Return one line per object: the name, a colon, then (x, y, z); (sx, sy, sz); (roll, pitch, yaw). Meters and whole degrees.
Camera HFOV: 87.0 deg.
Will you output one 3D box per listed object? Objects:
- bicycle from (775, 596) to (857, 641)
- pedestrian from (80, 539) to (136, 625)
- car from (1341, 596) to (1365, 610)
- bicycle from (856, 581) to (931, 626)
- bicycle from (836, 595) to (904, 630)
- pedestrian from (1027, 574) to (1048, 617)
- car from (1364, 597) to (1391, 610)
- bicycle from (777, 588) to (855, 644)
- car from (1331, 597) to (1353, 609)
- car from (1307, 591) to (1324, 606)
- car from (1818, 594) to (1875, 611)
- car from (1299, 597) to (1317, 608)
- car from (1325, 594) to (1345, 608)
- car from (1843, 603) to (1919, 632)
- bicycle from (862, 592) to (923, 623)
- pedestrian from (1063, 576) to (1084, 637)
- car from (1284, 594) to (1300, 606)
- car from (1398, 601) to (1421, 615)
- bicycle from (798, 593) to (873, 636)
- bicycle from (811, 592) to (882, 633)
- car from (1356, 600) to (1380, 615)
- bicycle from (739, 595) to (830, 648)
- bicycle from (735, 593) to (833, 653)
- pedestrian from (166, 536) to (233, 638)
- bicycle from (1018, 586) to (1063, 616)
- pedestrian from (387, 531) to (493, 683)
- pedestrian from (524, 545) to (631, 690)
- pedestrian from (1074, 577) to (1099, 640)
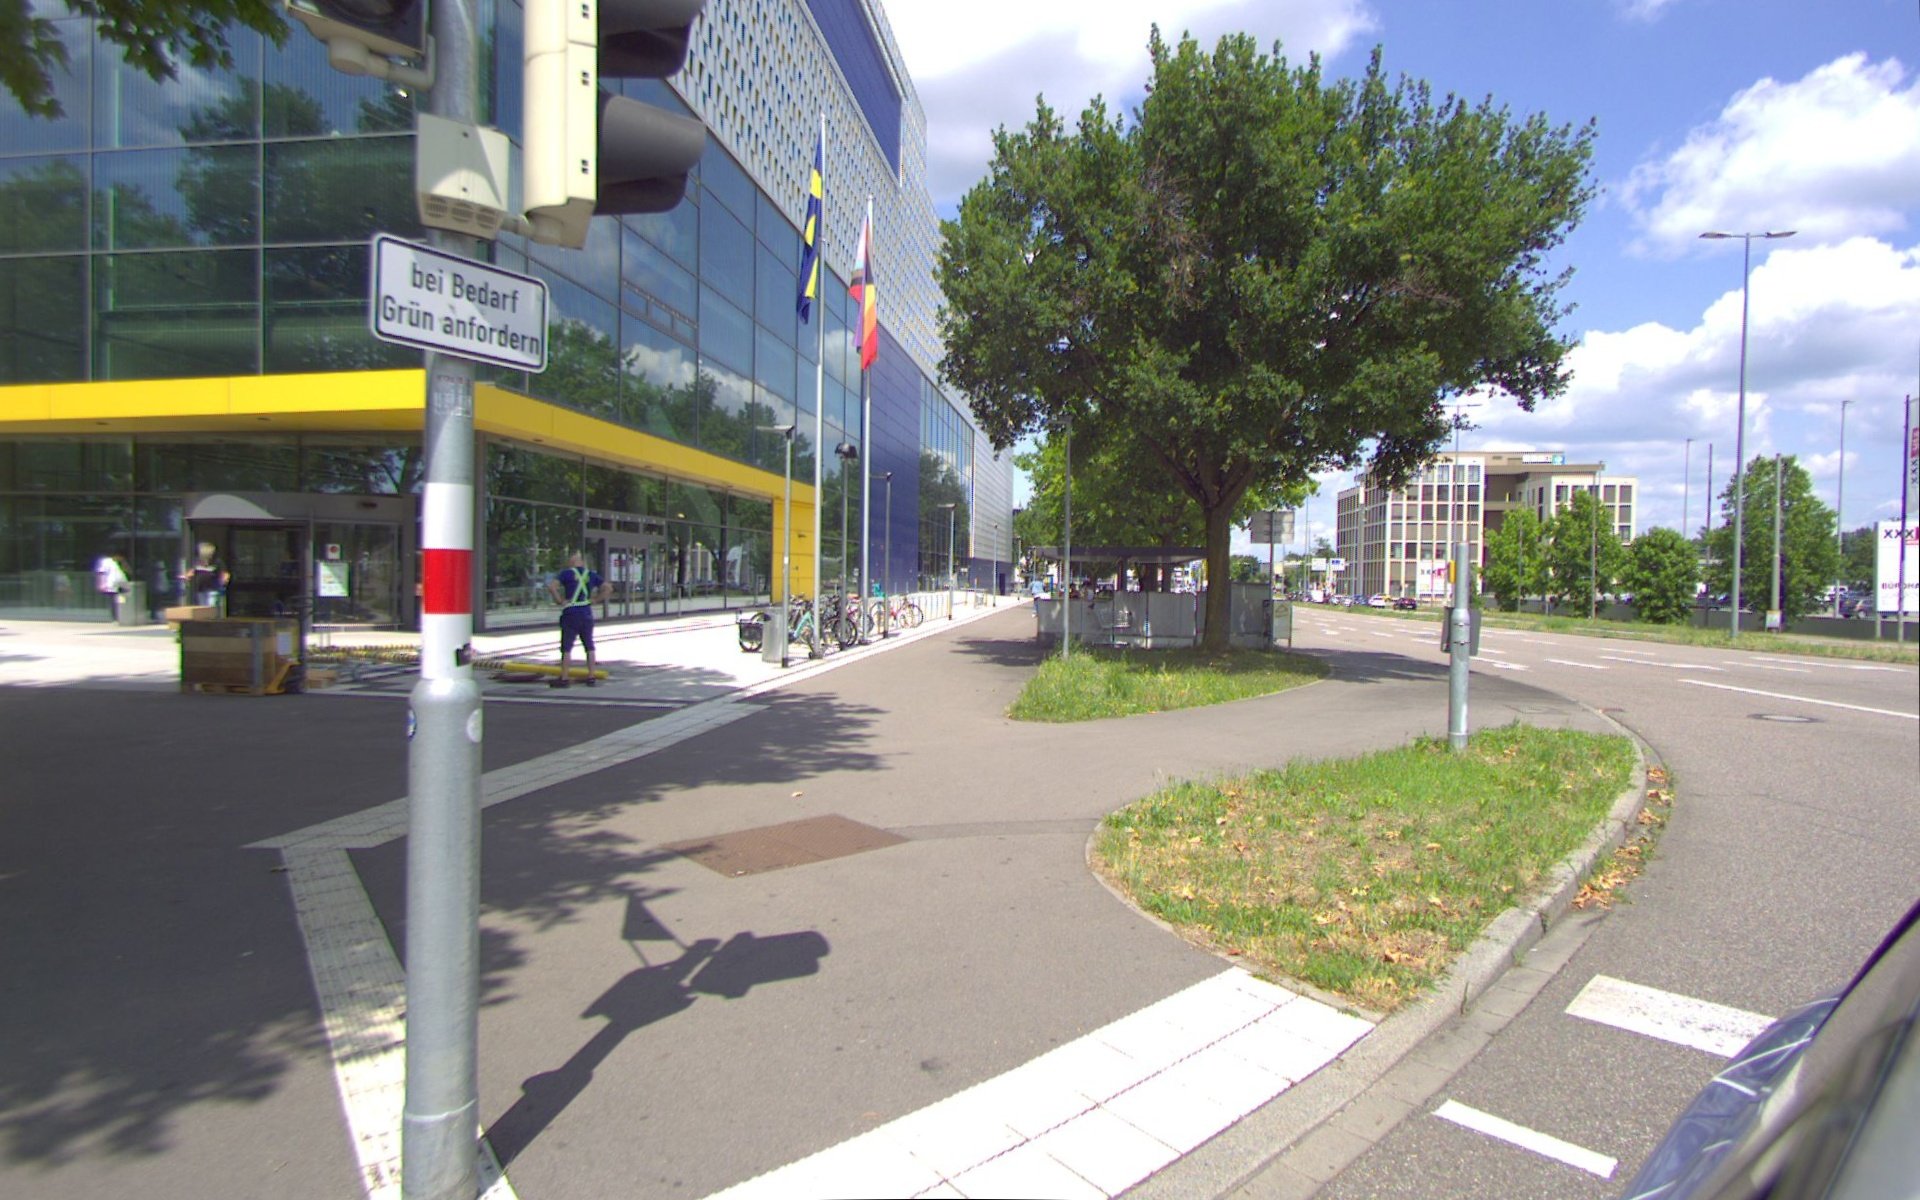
bicycle: (-3.393, 0.436, 23.898); (1.836, 1.007, 0.464); (1, 0, 7)
pedestrian: (-19.324, -0.433, 22.954); (0.772, 1.908, 0.614); (1, 3, 19)
car: (45.155, 0.372, 116.290); (1.770, 1.435, 4.658); (3, 1, 12)
bicycle: (-2.027, 0.098, 30.817); (2.121, 1.245, 0.716); (3, 1, 21)
bicycle: (-2.531, 0.334, 28.475); (1.835, 0.893, 0.423); (2, 1, 6)
pedestrian: (3.206, -0.201, 41.743); (0.623, 1.742, 0.524); (0, 2, -39)
car: (51.966, 0.438, 126.111); (1.594, 1.491, 4.358); (2, 0, 1)
bicycle: (-3.187, 0.351, 22.419); (1.648, 1.172, 0.462); (2, 0, -4)
car: (46.375, 0.331, 122.832); (1.770, 1.420, 4.827); (1, 0, 12)
car: (50.241, -0.258, 143.095); (1.835, 2.069, 3.561); (2, 0, 13)
car: (88.167, 0.237, 100.671); (3.775, 1.488, 1.849); (2, 0, 13)
car: (45.322, 0.313, 131.855); (1.770, 1.267, 4.291); (2, 0, 12)
car: (47.935, 0.099, 129.371); (1.770, 1.723, 4.211); (2, 0, 12)
car: (67.985, 1.283, 74.275); (4.292, 2.014, 1.994); (2, -1, 10)
bicycle: (-2.123, 0.235, 32.018); (1.838, 0.893, 0.469); (2, 0, 11)
pedestrian: (3.200, 0.180, 28.539); (0.537, 1.683, 0.477); (1, 0, 9)
car: (47.184, -0.034, 143.918); (1.771, 1.665, 4.153); (2, 0, 13)
car: (49.278, 0.888, 110.976); (1.600, 1.488, 4.099); (2, 1, 13)
bicycle: (-3.204, 0.362, 25.995); (1.835, 1.007, 0.423); (3, 2, 6)
bicycle: (-3.040, 0.331, 27.162); (1.835, 1.007, 0.423); (2, 1, 6)
car: (43.486, 0.784, 107.981); (1.718, 1.493, 3.662); (2, 2, 13)
bicycle: (-3.729, 0.445, 21.477); (1.839, 1.007, 0.422); (4, 0, 12)
bicycle: (-3.496, 0.454, 20.202); (1.887, 1.121, 0.505); (2, 2, -7)
pedestrian: (-14.650, -0.249, 19.484); (0.957, 1.910, 0.886); (1, 0, -40)
bicycle: (3.297, 0.013, 41.605); (0.567, 1.121, 2.012); (2, 2, -41)
pedestrian: (-7.487, 0.073, 14.599); (1.000, 2.097, 0.966); (1, 2, 25)
pedestrian: (-5.339, 0.216, 14.155); (1.000, 1.925, 0.966); (1, 1, 25)
pedestrian: (3.435, 0.227, 27.425); (0.539, 1.683, 0.542); (1, 0, 21)
